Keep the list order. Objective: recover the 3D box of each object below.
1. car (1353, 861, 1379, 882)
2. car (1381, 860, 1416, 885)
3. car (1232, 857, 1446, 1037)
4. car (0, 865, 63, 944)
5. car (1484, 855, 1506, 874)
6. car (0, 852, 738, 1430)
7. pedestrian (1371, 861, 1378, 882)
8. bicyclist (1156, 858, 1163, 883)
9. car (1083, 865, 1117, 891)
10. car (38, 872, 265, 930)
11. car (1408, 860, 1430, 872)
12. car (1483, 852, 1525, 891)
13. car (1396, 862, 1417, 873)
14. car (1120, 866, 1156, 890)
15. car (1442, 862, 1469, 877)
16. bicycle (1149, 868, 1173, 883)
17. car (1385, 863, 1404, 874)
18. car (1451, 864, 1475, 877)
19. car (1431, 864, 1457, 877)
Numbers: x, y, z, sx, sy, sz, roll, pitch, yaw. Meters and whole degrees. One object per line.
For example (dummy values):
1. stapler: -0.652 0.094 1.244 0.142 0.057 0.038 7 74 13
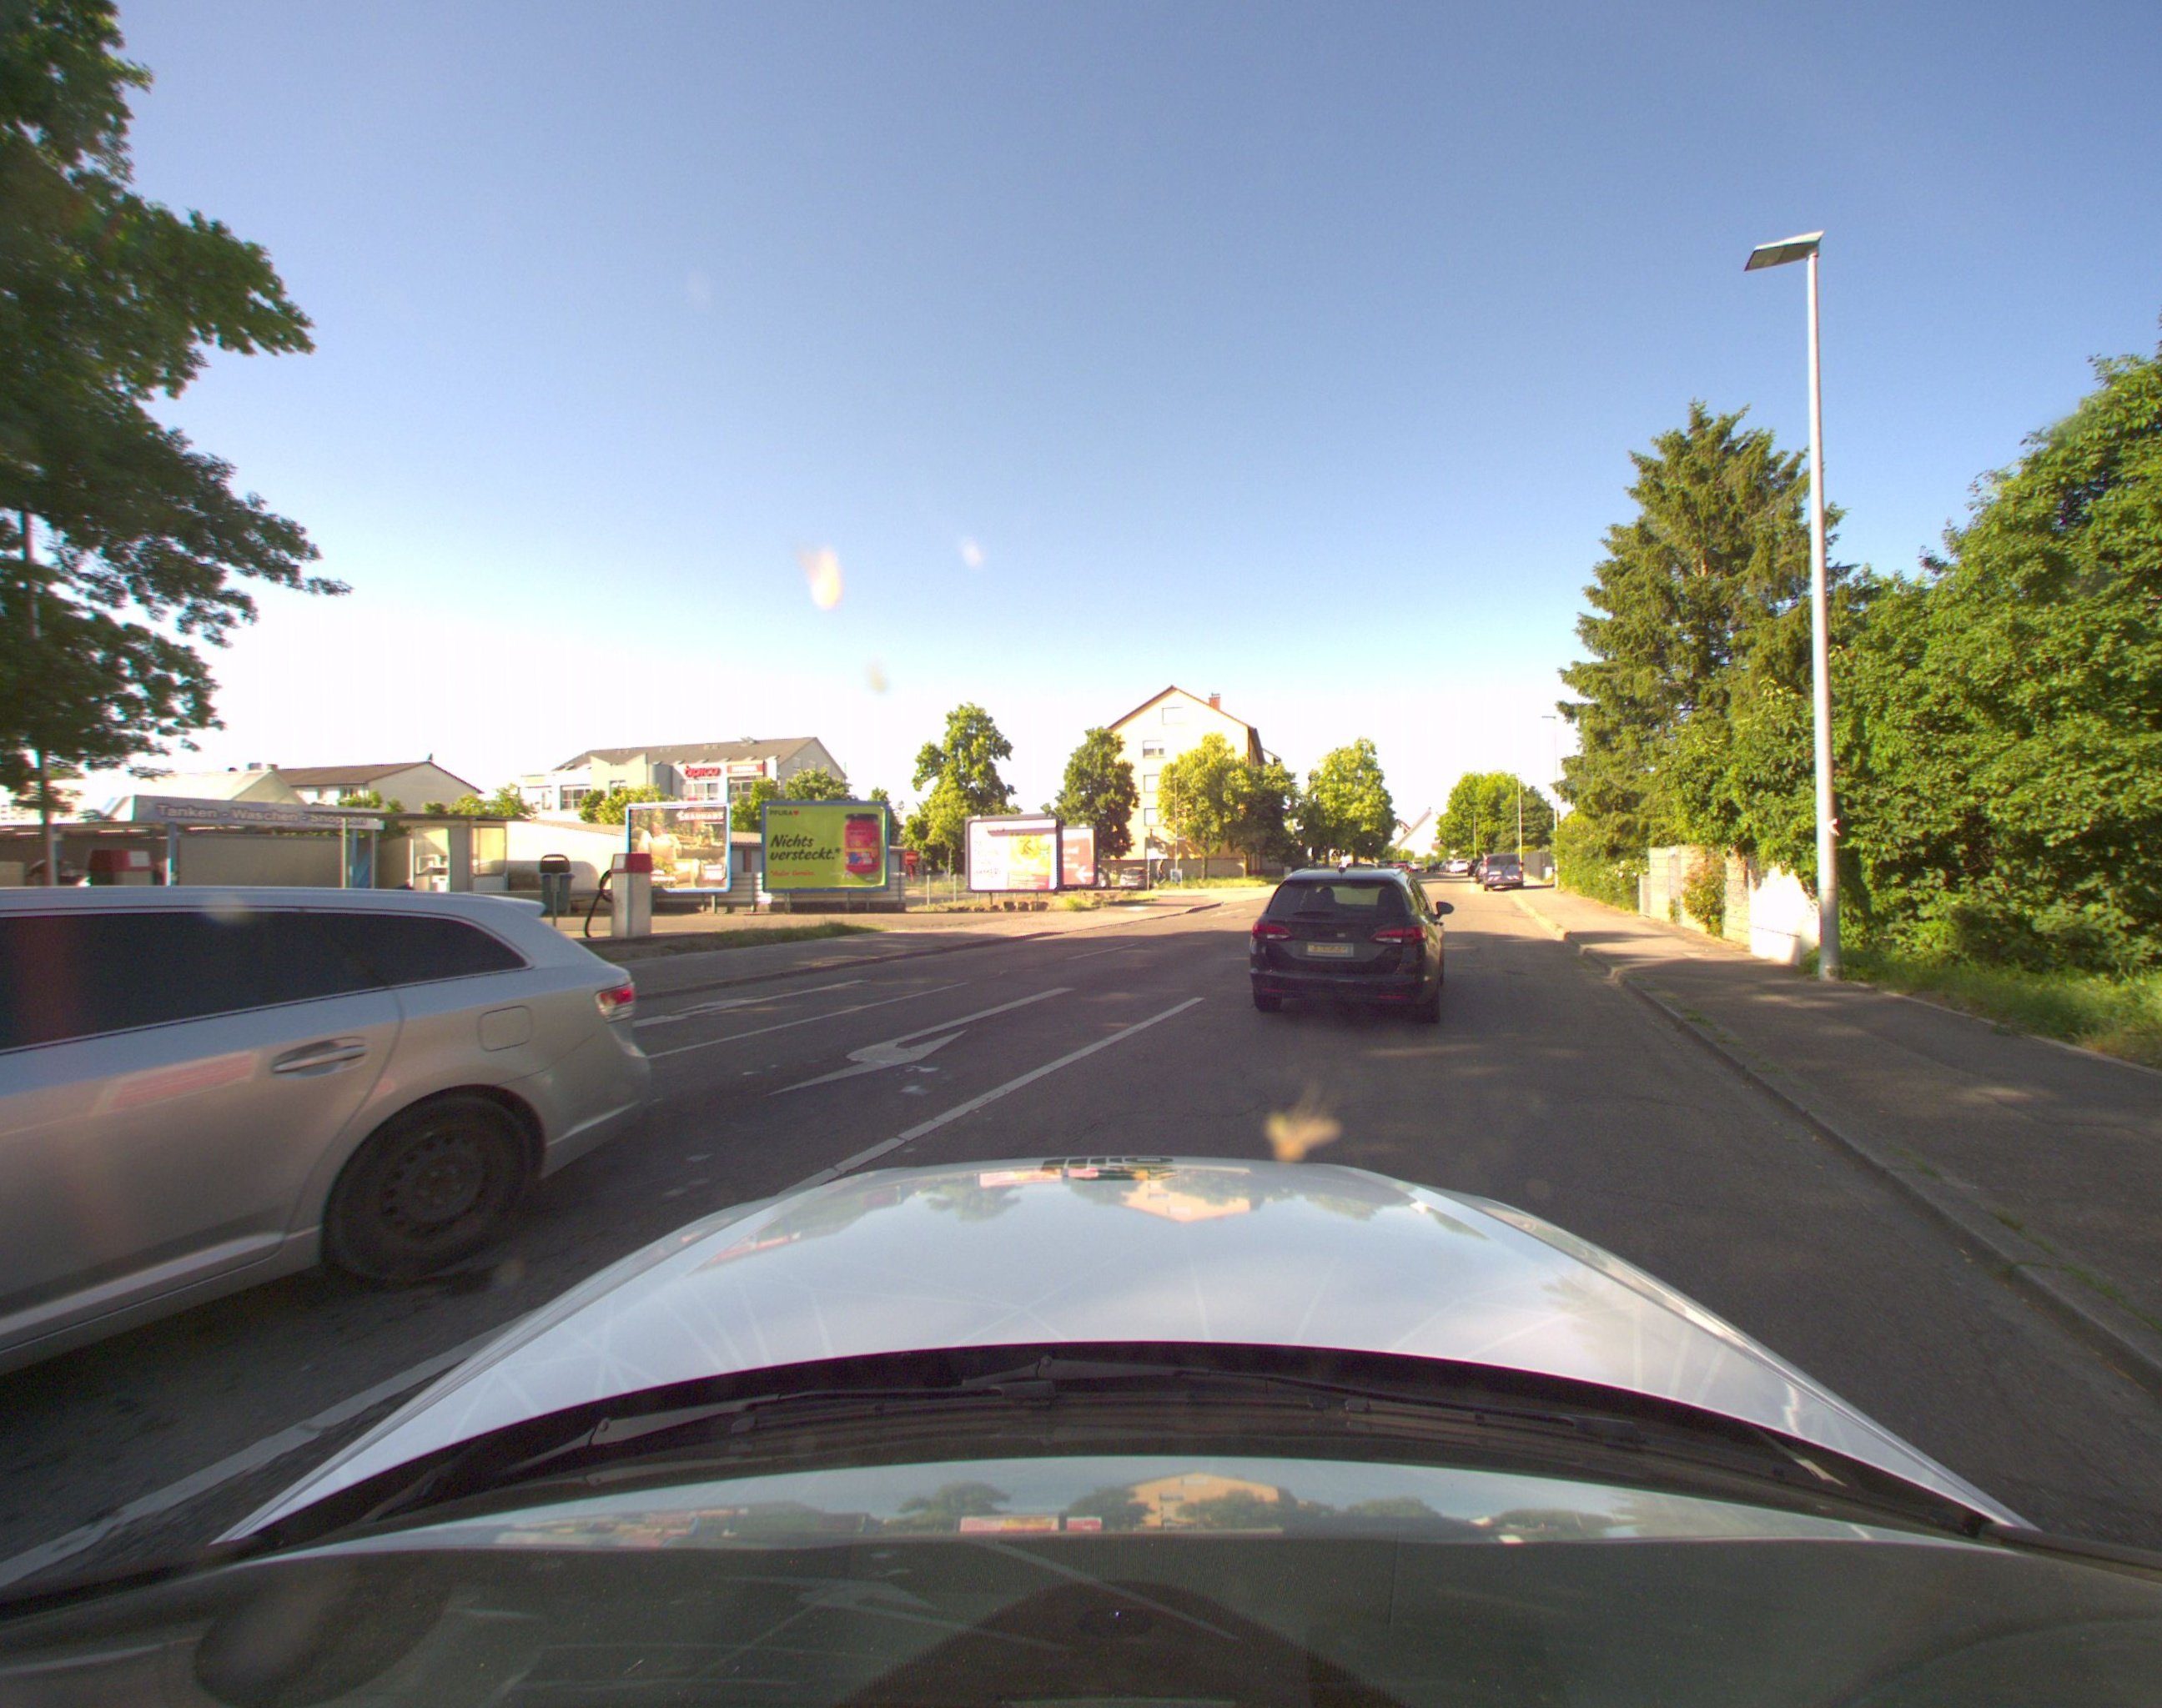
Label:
1. car: 21.530 1.345 61.457 1.686 1.480 4.073 1 -2 22
2. car: 21.635 1.201 55.408 1.994 1.568 4.418 0 0 24
3. car: 3.095 0.815 9.101 1.746 1.491 4.315 0 -1 25
4. car: -19.592 0.837 13.102 1.754 1.376 3.985 0 -3 -10
5. car: 39.212 1.021 77.218 1.761 1.724 4.319 -2 -2 26
6. car: -3.653 0.768 2.427 1.820 1.489 4.917 -2 -1 24
7. pedestrian: 24.581 1.480 68.231 0.500 1.761 0.698 -2 -4 22
8. bicyclist: 5.569 1.168 57.491 0.388 1.686 0.381 0 -3 -6
9. car: 1.326 1.579 55.396 1.687 1.622 3.892 -1 0 10
10. car: -27.928 1.408 24.694 1.980 1.607 4.012 -1 -3 12
11. car: 46.418 1.666 111.992 1.809 1.534 4.269 -2 -2 9
12. car: 22.227 0.898 42.899 1.820 1.908 4.725 -1 -1 26
13. car: 46.960 1.948 117.530 1.809 1.534 4.269 -2 -2 9
14. car: 3.786 1.549 53.707 1.717 1.464 3.895 -1 0 13
15. car: 44.622 1.867 97.160 1.899 1.600 4.306 -2 -2 11
16. bicycle: 5.624 1.542 57.458 1.615 1.011 0.405 0 -3 -7
17. car: 47.425 2.250 123.414 1.809 1.534 4.269 -2 -2 9
18. car: 43.350 1.888 92.449 1.747 1.480 4.311 -2 -2 15
19. car: 45.725 2.103 102.727 1.993 1.475 4.305 -2 -2 10
